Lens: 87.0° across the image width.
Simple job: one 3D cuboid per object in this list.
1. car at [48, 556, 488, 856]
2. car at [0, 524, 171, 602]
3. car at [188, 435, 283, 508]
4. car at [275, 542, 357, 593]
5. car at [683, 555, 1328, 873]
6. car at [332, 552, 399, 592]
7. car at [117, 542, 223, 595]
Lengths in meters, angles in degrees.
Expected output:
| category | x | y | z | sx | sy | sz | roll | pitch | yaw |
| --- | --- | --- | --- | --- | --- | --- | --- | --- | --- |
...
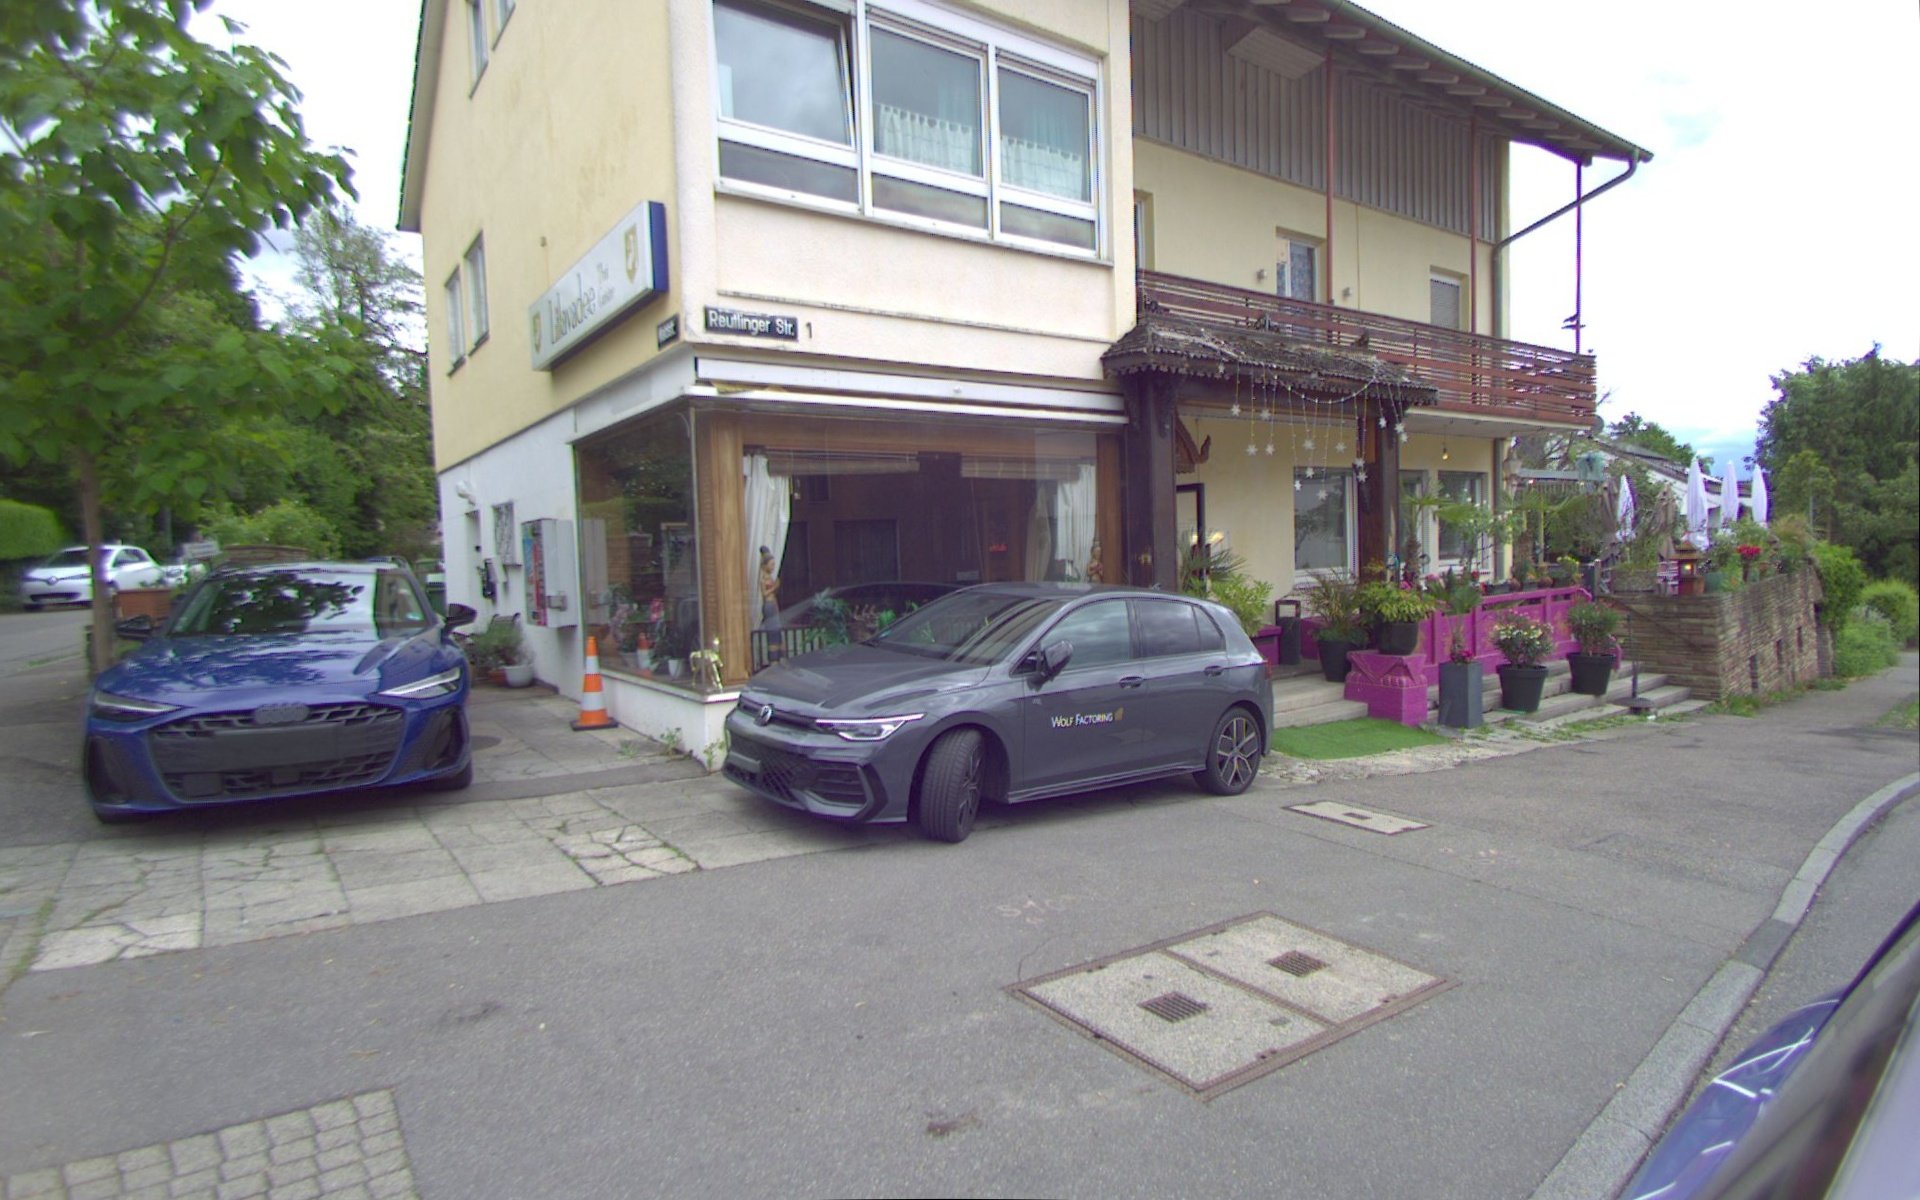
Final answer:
| category | x | y | z | sx | sy | sz | roll | pitch | yaw |
| --- | --- | --- | --- | --- | --- | --- | --- | --- | --- |
| car | -4.439 | 0.390 | 6.991 | 1.800 | 1.343 | 4.518 | 0 | 2 | -29 |
| car | -21.705 | -0.830 | 25.174 | 1.958 | 1.730 | 4.007 | 0 | -1 | -17 |
| car | -23.847 | -4.166 | 33.464 | 1.959 | 2.038 | 4.007 | 0 | 2 | -27 |
| car | -26.879 | -1.337 | 42.366 | 1.958 | 2.039 | 4.009 | 0 | 1 | -18 |
| car | 0.522 | 0.528 | 7.001 | 4.308 | 1.490 | 1.853 | 0 | 3 | -40 |
| car | -28.016 | -1.269 | 47.810 | 1.958 | 1.766 | 3.632 | 0 | 0 | -18 |
| car | -23.152 | -0.939 | 29.781 | 1.638 | 1.441 | 3.391 | 0 | 2 | -23 |
